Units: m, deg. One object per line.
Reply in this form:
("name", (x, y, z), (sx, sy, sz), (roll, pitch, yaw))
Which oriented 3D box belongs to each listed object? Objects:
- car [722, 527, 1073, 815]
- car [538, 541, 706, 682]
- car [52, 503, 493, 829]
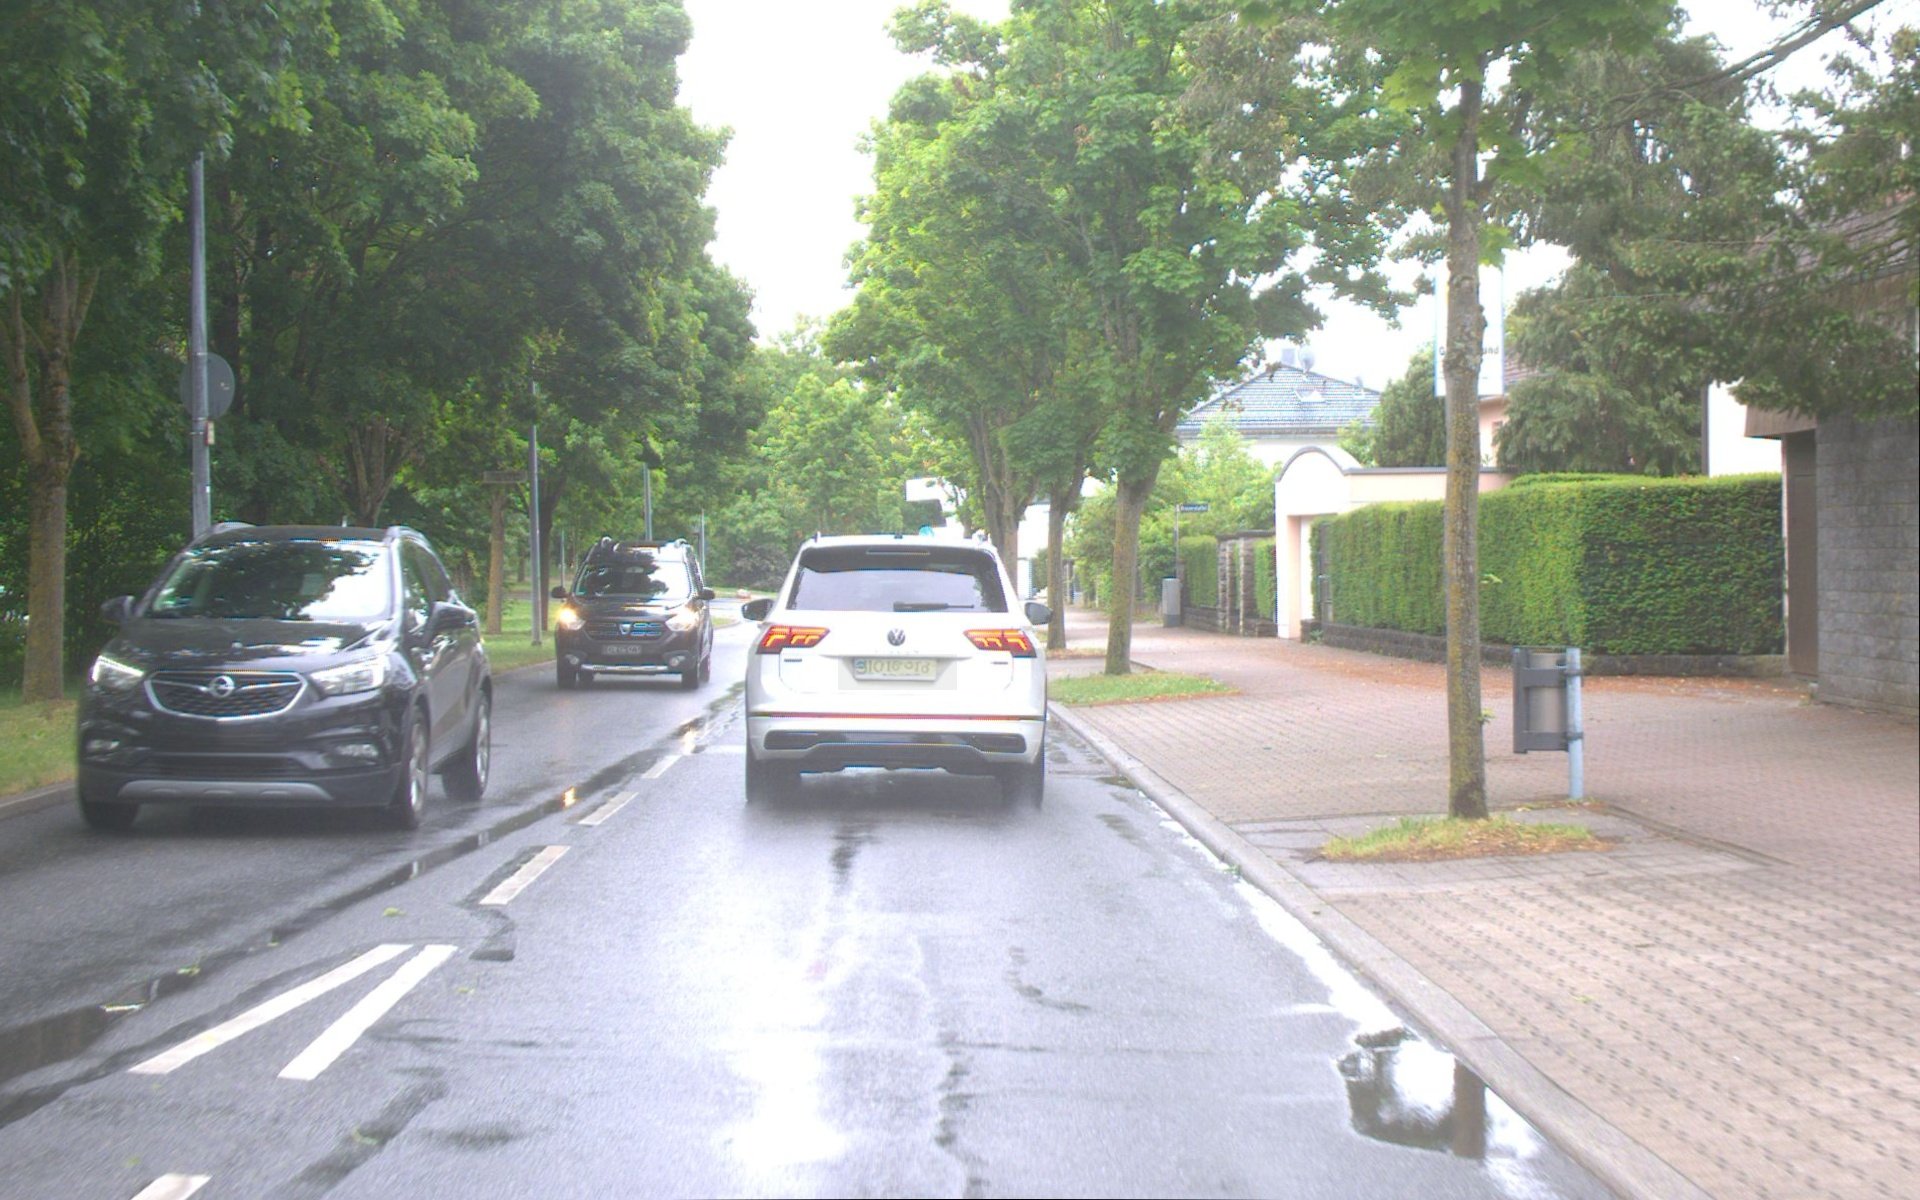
("car", (-0.479, 0.386, 21.914), (1.996, 1.626, 4.001), (1, 1, -3))
("car", (-4.121, 0.103, 42.416), (1.756, 1.642, 4.000), (0, 1, -1))
("car", (-3.755, 0.306, 19.428), (1.814, 1.642, 4.000), (0, 1, -2))
